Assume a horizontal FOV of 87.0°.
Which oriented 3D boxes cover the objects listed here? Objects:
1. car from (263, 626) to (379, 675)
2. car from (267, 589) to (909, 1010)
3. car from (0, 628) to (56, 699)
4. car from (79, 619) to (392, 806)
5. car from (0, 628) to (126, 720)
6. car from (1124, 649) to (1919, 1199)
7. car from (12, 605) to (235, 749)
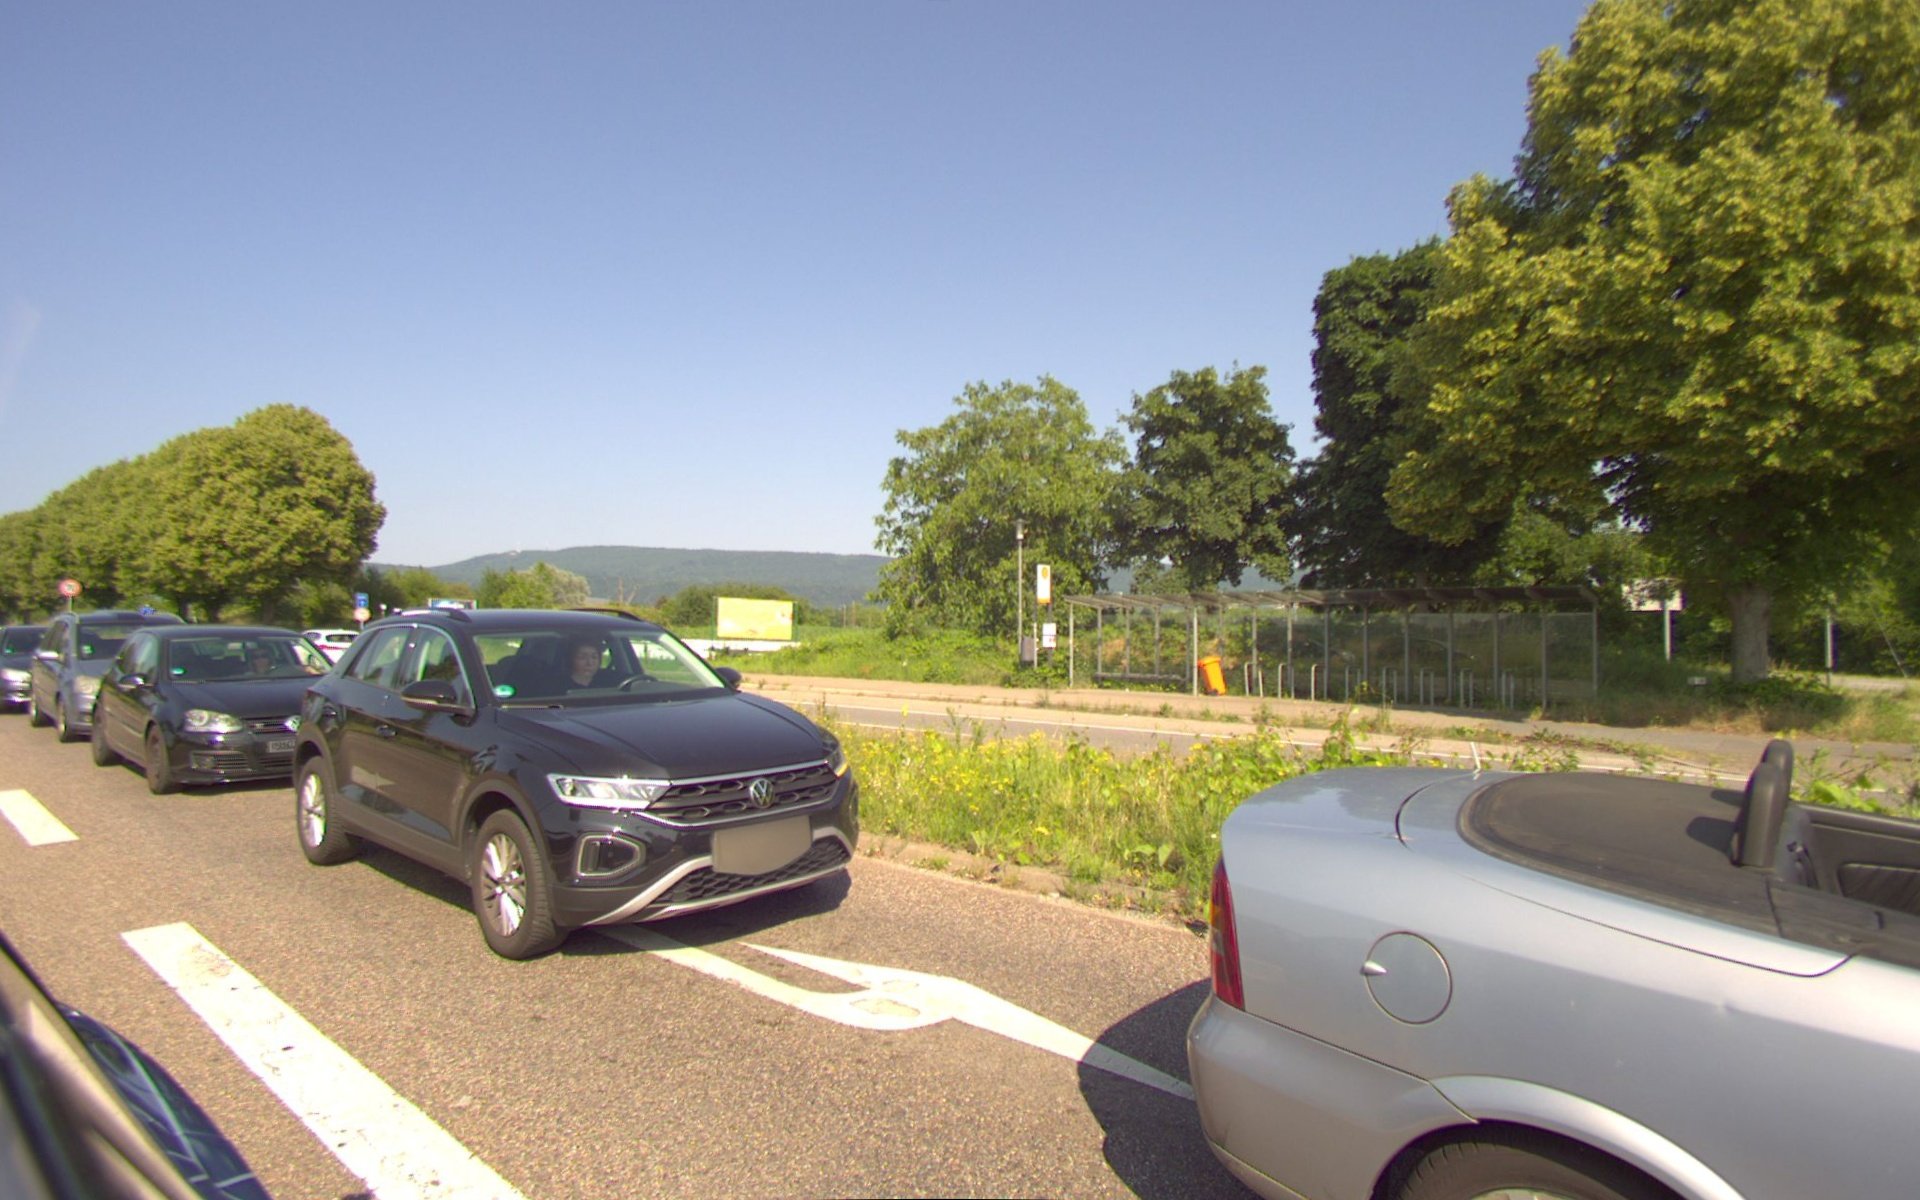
[{"bbox_3d":[-21.401,1.676,33.856,4.141,1.527,1.865,-1,-4,37],"label":"car"},{"bbox_3d":[-2.347,0.796,5.779,4.096,1.559,1.710,-2,-2,42],"label":"car"},{"bbox_3d":[-21.454,1.353,22.252,4.639,1.436,1.784,-1,-1,41],"label":"car"},{"bbox_3d":[-7.295,0.950,10.037,4.096,1.486,1.648,-2,-2,42],"label":"car"},{"bbox_3d":[-16.176,1.204,17.778,4.353,1.421,1.696,-1,-2,42],"label":"car"},{"bbox_3d":[2.421,0.775,1.412,4.096,1.345,1.656,-1,-3,42],"label":"car"},{"bbox_3d":[-11.599,0.954,13.925,4.355,1.685,1.723,-2,-2,42],"label":"car"}]
